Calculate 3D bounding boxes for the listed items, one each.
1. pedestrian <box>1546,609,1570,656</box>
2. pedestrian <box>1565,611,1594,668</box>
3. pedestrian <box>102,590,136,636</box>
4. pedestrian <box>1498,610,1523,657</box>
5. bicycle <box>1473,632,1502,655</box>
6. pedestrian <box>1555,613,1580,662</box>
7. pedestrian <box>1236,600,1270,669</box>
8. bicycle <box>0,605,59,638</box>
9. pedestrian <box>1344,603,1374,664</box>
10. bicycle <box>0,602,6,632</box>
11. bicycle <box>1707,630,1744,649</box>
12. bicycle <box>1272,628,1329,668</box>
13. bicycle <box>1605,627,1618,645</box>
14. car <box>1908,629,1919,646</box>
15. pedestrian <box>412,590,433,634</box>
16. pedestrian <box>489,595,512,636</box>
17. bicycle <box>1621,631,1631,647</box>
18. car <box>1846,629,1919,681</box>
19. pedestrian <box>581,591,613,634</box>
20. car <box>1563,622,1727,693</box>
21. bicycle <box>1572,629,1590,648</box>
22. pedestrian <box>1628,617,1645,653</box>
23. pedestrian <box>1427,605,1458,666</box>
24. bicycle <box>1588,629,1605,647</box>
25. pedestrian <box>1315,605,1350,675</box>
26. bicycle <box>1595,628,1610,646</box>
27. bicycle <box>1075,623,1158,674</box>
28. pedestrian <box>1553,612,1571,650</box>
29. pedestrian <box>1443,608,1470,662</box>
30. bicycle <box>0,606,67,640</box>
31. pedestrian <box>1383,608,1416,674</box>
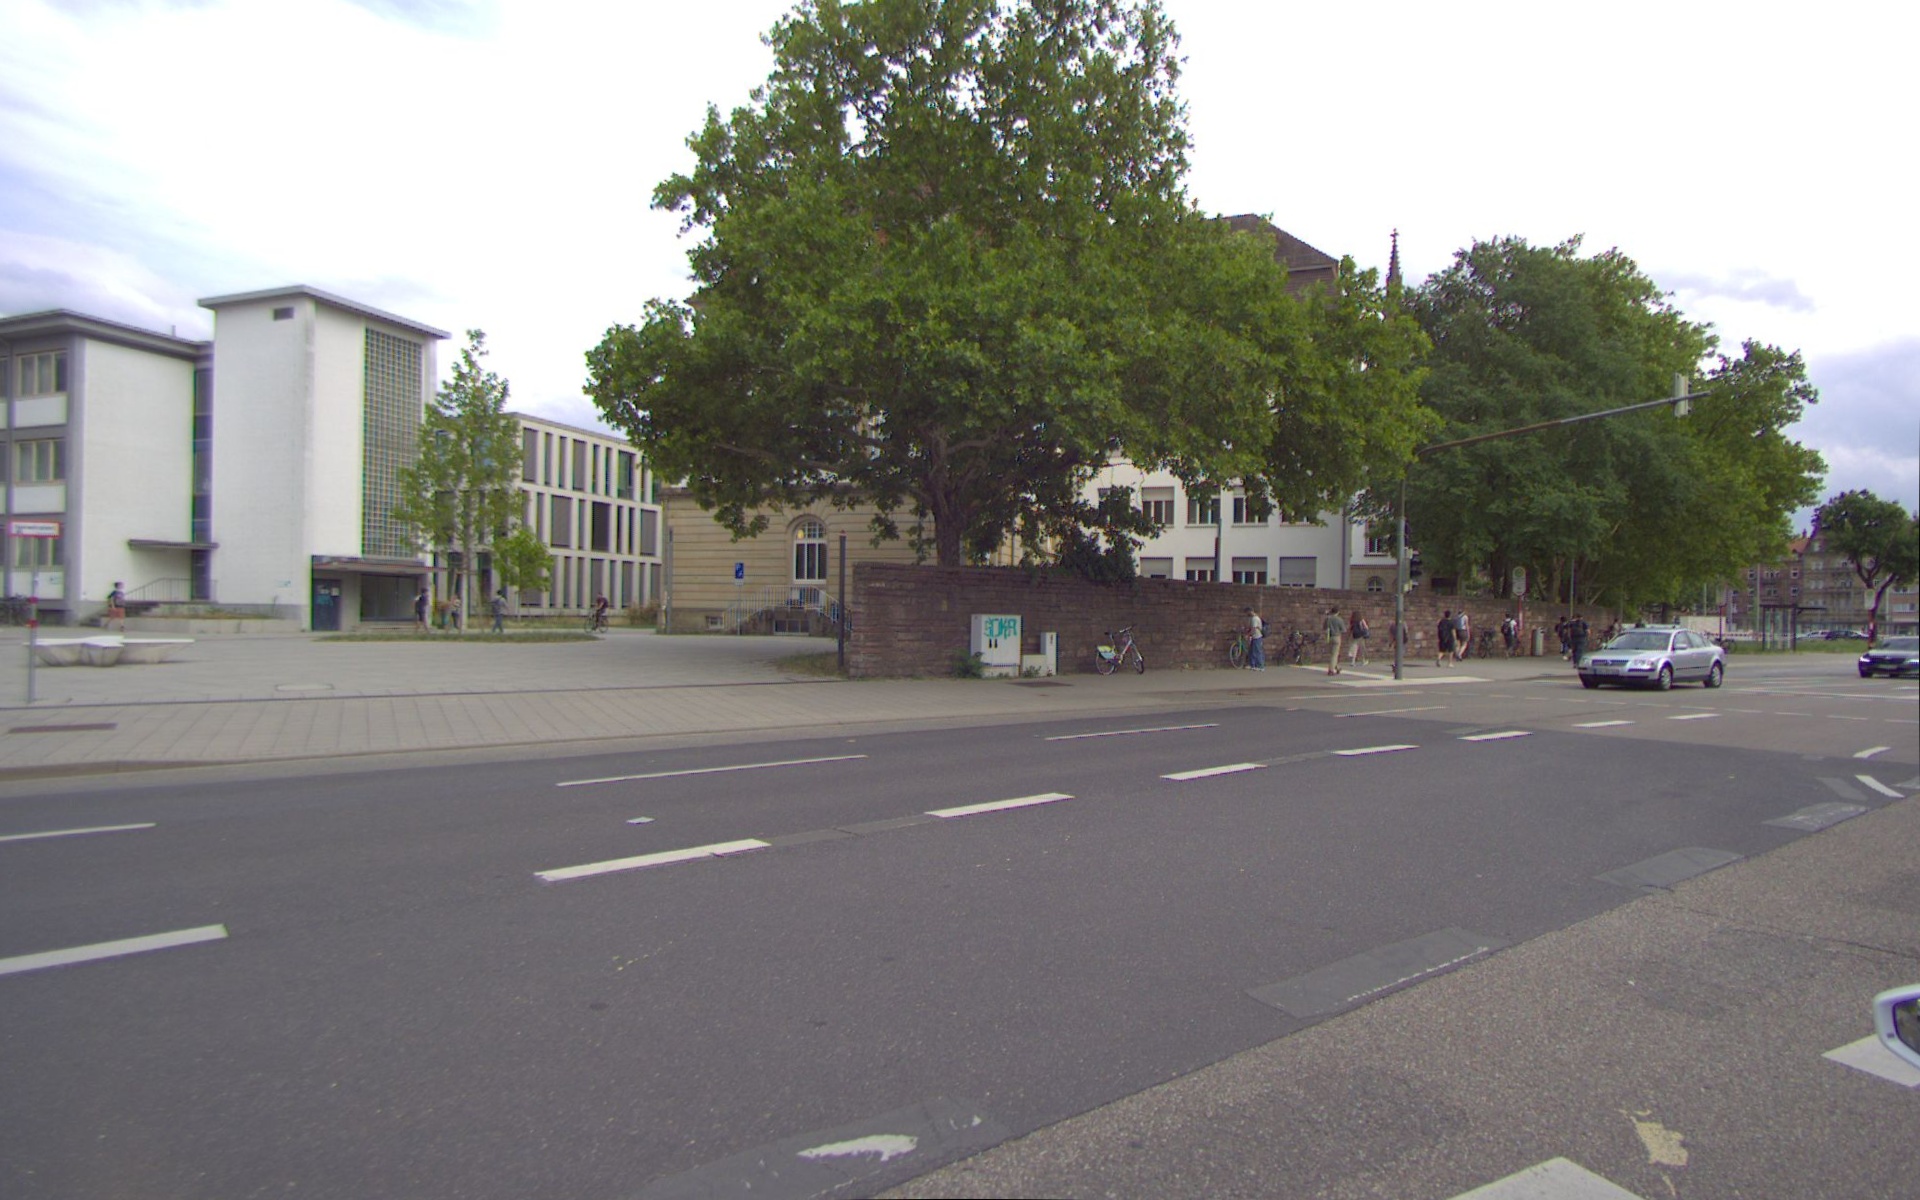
[{"bbox_3d":[23.720,1.301,39.855,0.747,1.806,0.782,2,-1,30],"label":"pedestrian"},{"bbox_3d":[20.144,1.292,32.664,0.748,1.806,0.720,2,-1,35],"label":"pedestrian"},{"bbox_3d":[-28.941,0.450,34.565,0.644,1.569,0.599,1,0,7],"label":"pedestrian"},{"bbox_3d":[20.411,1.235,37.252,0.747,1.693,0.923,2,0,29],"label":"pedestrian"},{"bbox_3d":[20.127,1.656,38.324,1.608,0.807,0.437,0,3,-42],"label":"bicycle"},{"bbox_3d":[22.969,1.410,37.989,0.747,1.806,0.923,2,-1,29],"label":"pedestrian"},{"bbox_3d":[7.931,0.935,27.150,0.732,1.806,0.783,2,-1,24],"label":"pedestrian"},{"bbox_3d":[-34.505,0.769,36.450,0.731,1.149,2.673,1,0,21],"label":"bicycle"},{"bbox_3d":[12.000,1.003,30.205,0.747,1.806,0.783,2,-1,27],"label":"pedestrian"},{"bbox_3d":[-37.602,0.652,37.607,0.731,1.149,2.673,1,0,21],"label":"bicycle"},{"bbox_3d":[39.030,2.019,51.217,2.307,0.931,0.468,1,0,-25],"label":"bicycle"},{"bbox_3d":[9.902,1.369,29.179,1.964,1.072,0.544,1,3,-39],"label":"bicycle"},{"bbox_3d":[34.642,1.913,53.419,0.342,0.890,1.515,4,1,40],"label":"bicycle"},{"bbox_3d":[87.479,3.436,89.123,1.645,1.495,4.636,2,1,-36],"label":"car"},{"bbox_3d":[-19.473,0.422,36.403,0.649,1.569,0.705,1,0,-29],"label":"pedestrian"},{"bbox_3d":[-17.722,0.608,38.712,0.727,1.569,0.699,1,0,-29],"label":"pedestrian"},{"bbox_3d":[39.446,2.322,59.472,0.474,0.919,1.615,1,-1,35],"label":"bicycle"},{"bbox_3d":[33.026,1.877,35.179,4.695,1.637,1.885,1,0,-34],"label":"car"},{"bbox_3d":[-17.716,0.618,49.046,0.899,2.040,1.232,1,0,16],"label":"pedestrian"},{"bbox_3d":[16.417,1.320,24.006,4.500,1.509,1.750,1,0,-35],"label":"car"},{"bbox_3d":[29.138,1.817,47.096,0.435,0.838,1.613,4,1,40],"label":"bicycle"},{"bbox_3d":[32.178,1.676,47.773,0.553,1.690,0.623,1,-1,41],"label":"pedestrian"},{"bbox_3d":[14.787,1.083,30.792,0.747,1.806,0.782,2,-1,30],"label":"pedestrian"},{"bbox_3d":[31.707,1.886,50.014,0.435,0.838,1.613,4,1,40],"label":"bicycle"},{"bbox_3d":[9.882,1.063,26.643,0.733,1.806,0.783,2,-1,26],"label":"pedestrian"},{"bbox_3d":[33.131,1.881,51.782,0.411,0.890,1.548,4,1,40],"label":"bicycle"},{"bbox_3d":[3.742,1.143,23.952,2.145,1.141,0.573,1,3,-37],"label":"bicycle"},{"bbox_3d":[26.213,1.365,43.742,0.578,1.613,0.733,2,-1,35],"label":"pedestrian"},{"bbox_3d":[17.175,1.205,34.733,0.747,1.806,0.913,2,-1,29],"label":"pedestrian"},{"bbox_3d":[-33.533,0.808,35.683,0.731,1.149,2.673,1,0,21],"label":"bicycle"},{"bbox_3d":[12.429,1.158,28.416,0.747,1.806,0.783,2,-1,29],"label":"pedestrian"}]
